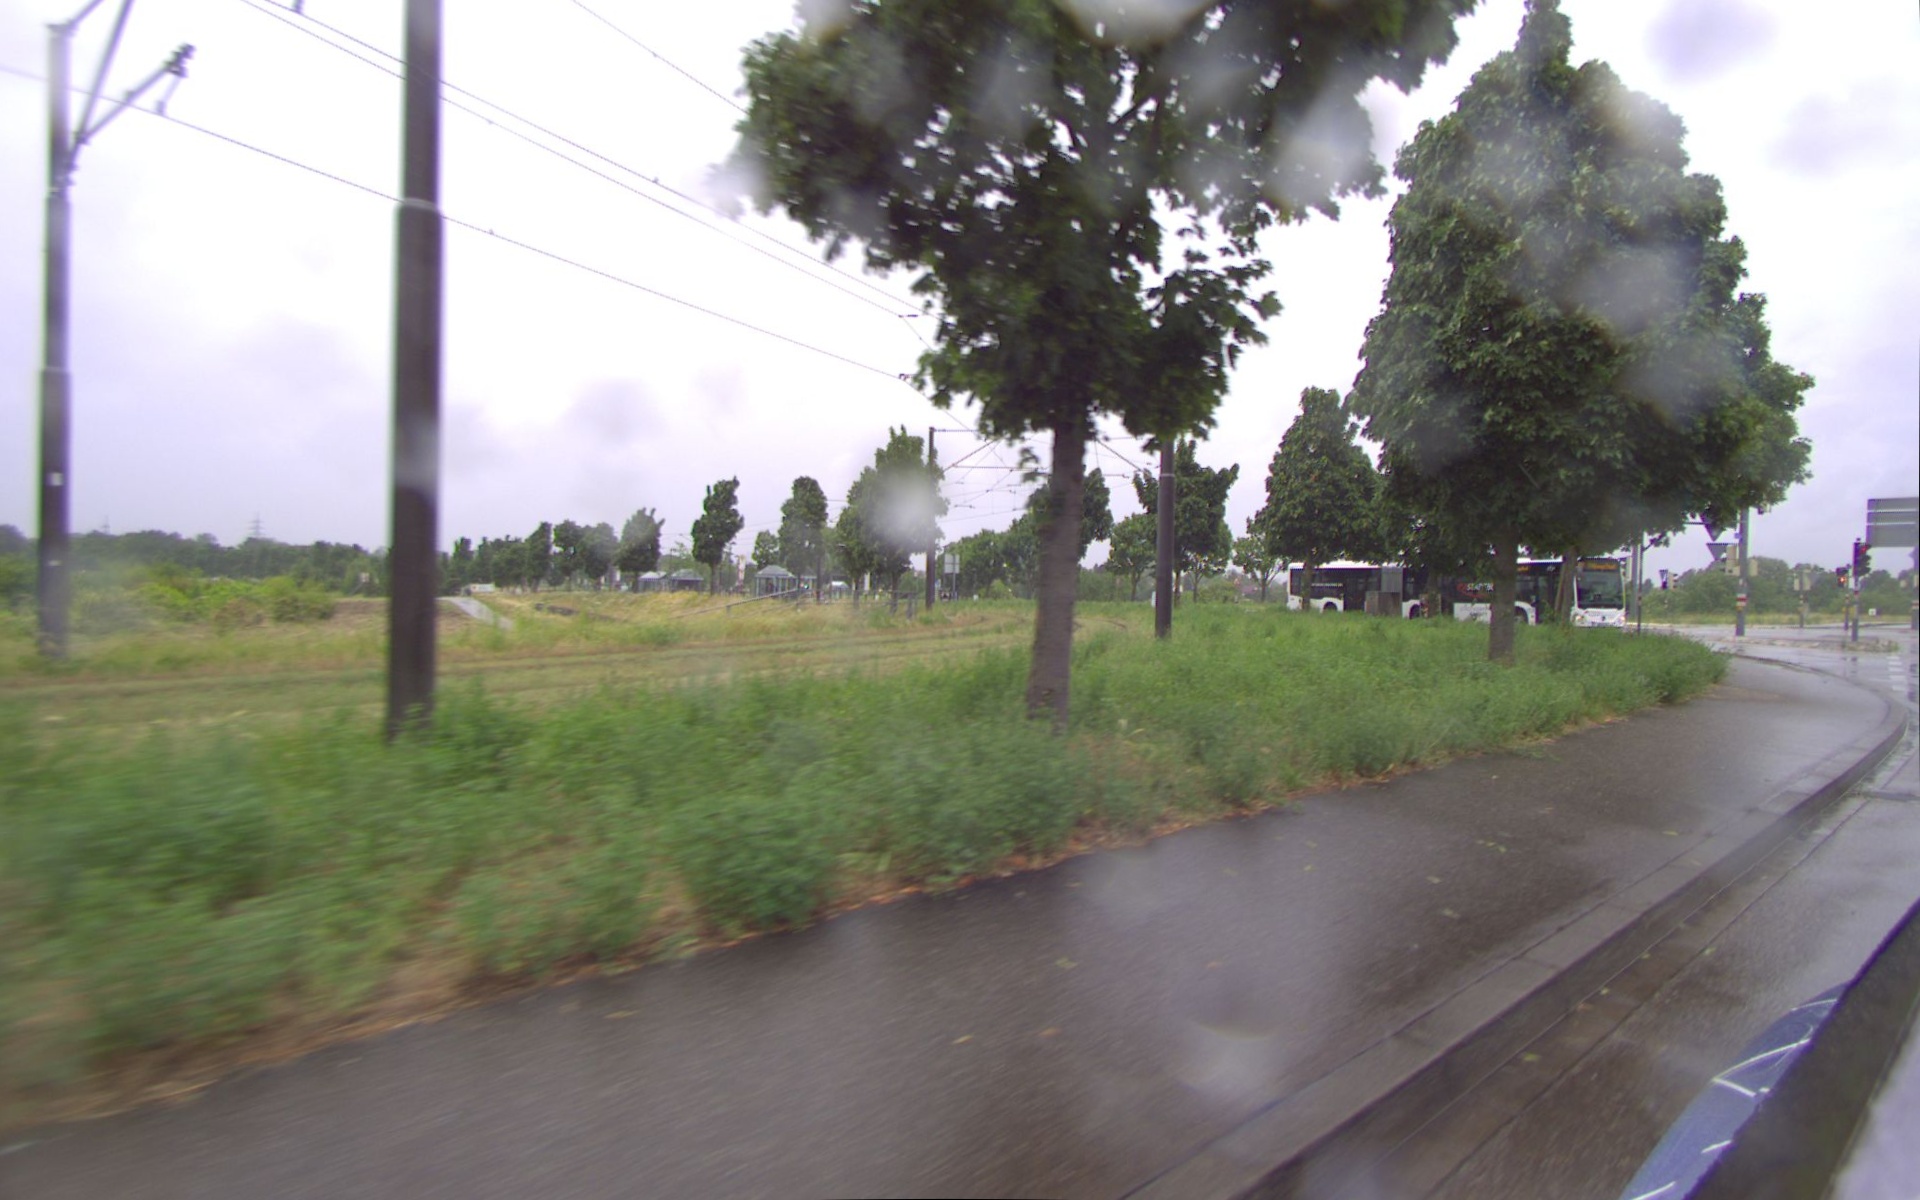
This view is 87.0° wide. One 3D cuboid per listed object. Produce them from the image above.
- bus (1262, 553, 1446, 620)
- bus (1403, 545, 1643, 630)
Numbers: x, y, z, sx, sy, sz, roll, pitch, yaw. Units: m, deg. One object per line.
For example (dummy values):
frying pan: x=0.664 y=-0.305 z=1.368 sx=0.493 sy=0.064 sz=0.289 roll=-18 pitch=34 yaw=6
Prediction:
bus: x=19.858 y=-0.699 z=51.972 sx=2.622 sy=3.116 sz=10.015 roll=0 pitch=1 yaw=-22
bus: x=22.986 y=-0.530 z=42.286 sx=2.622 sy=3.116 sz=10.015 roll=0 pitch=1 yaw=-14
